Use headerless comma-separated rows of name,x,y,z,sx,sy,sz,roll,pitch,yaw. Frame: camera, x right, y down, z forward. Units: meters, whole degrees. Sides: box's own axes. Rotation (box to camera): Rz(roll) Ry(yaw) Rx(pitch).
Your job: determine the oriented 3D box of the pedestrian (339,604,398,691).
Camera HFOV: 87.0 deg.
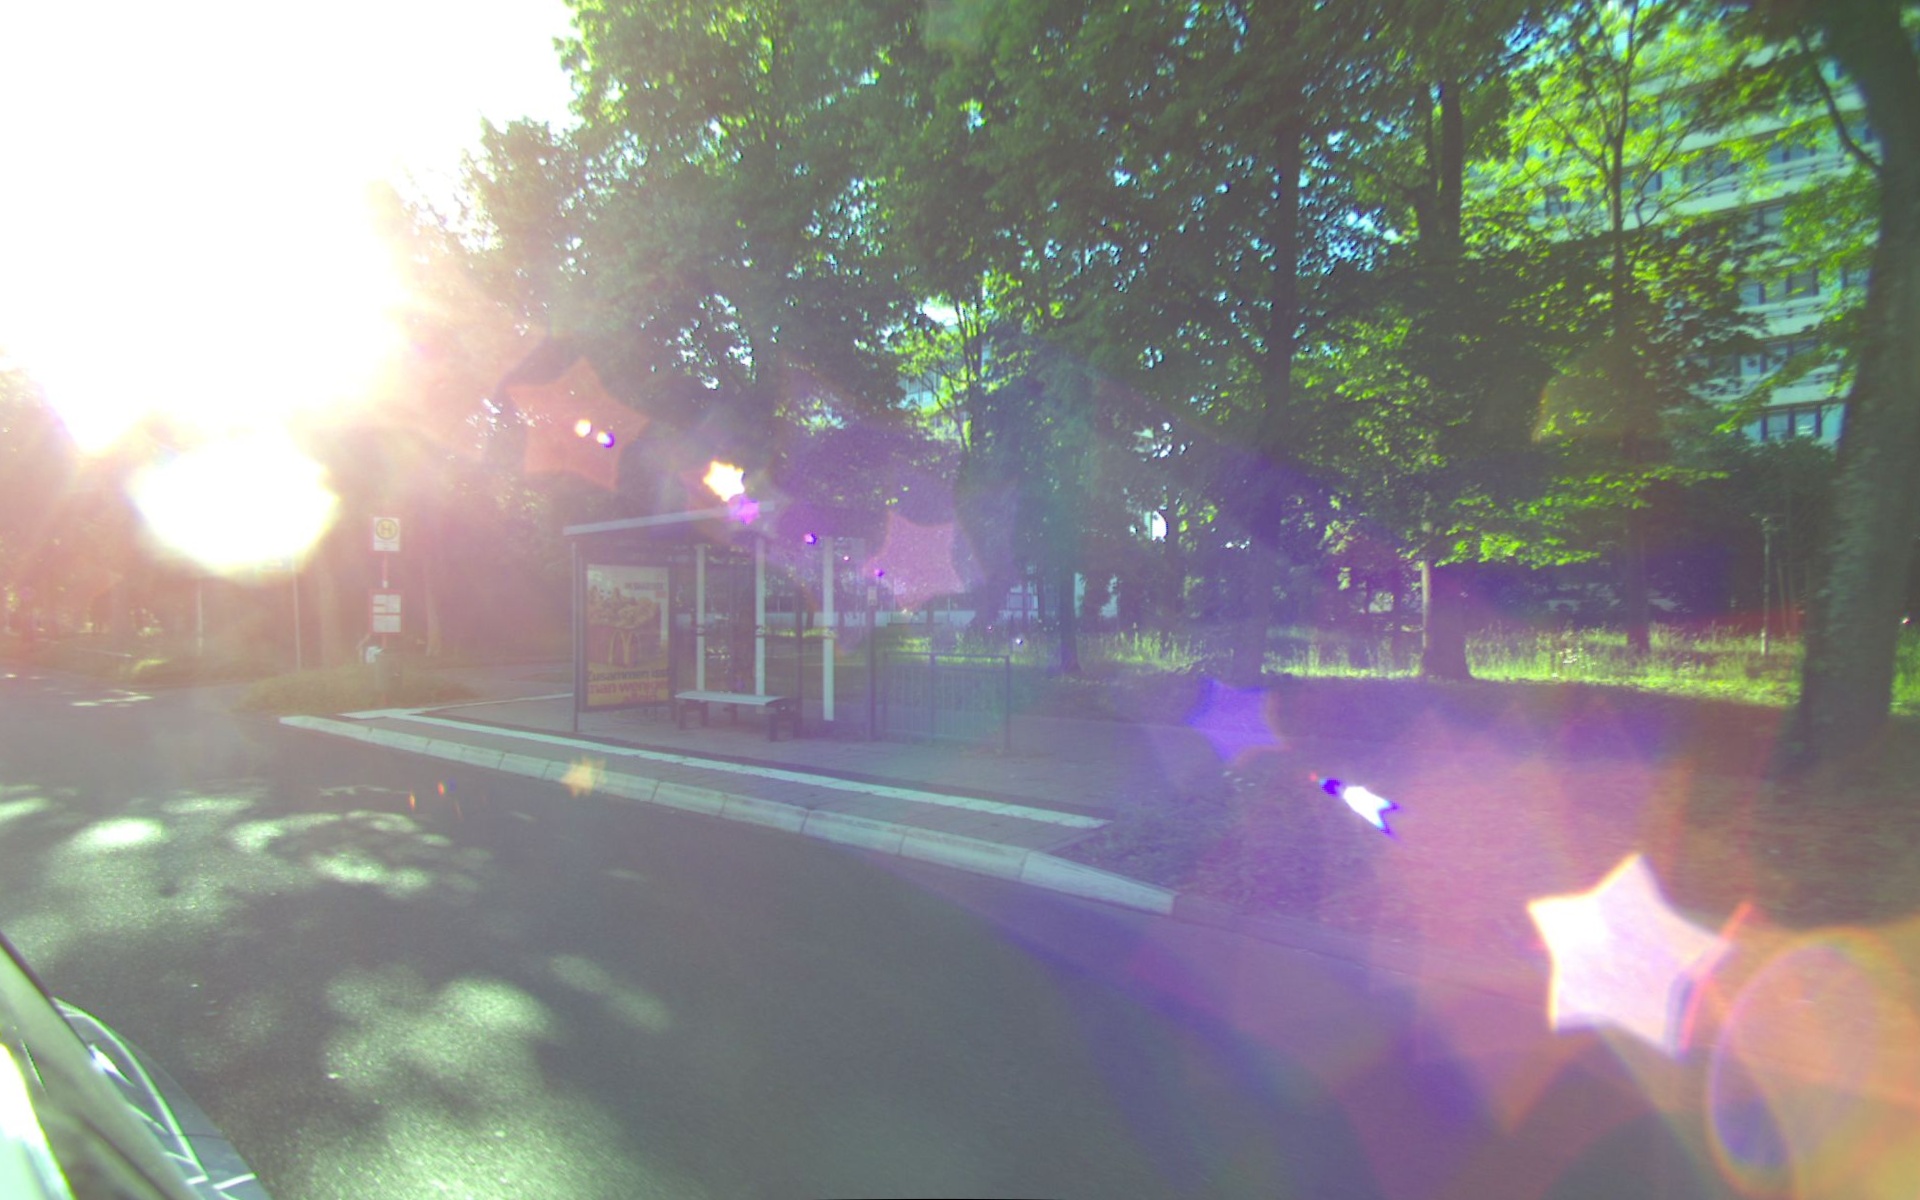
pedestrian,-12.838,1.014,21.978,0.720,1.835,0.894,-2,-1,39
